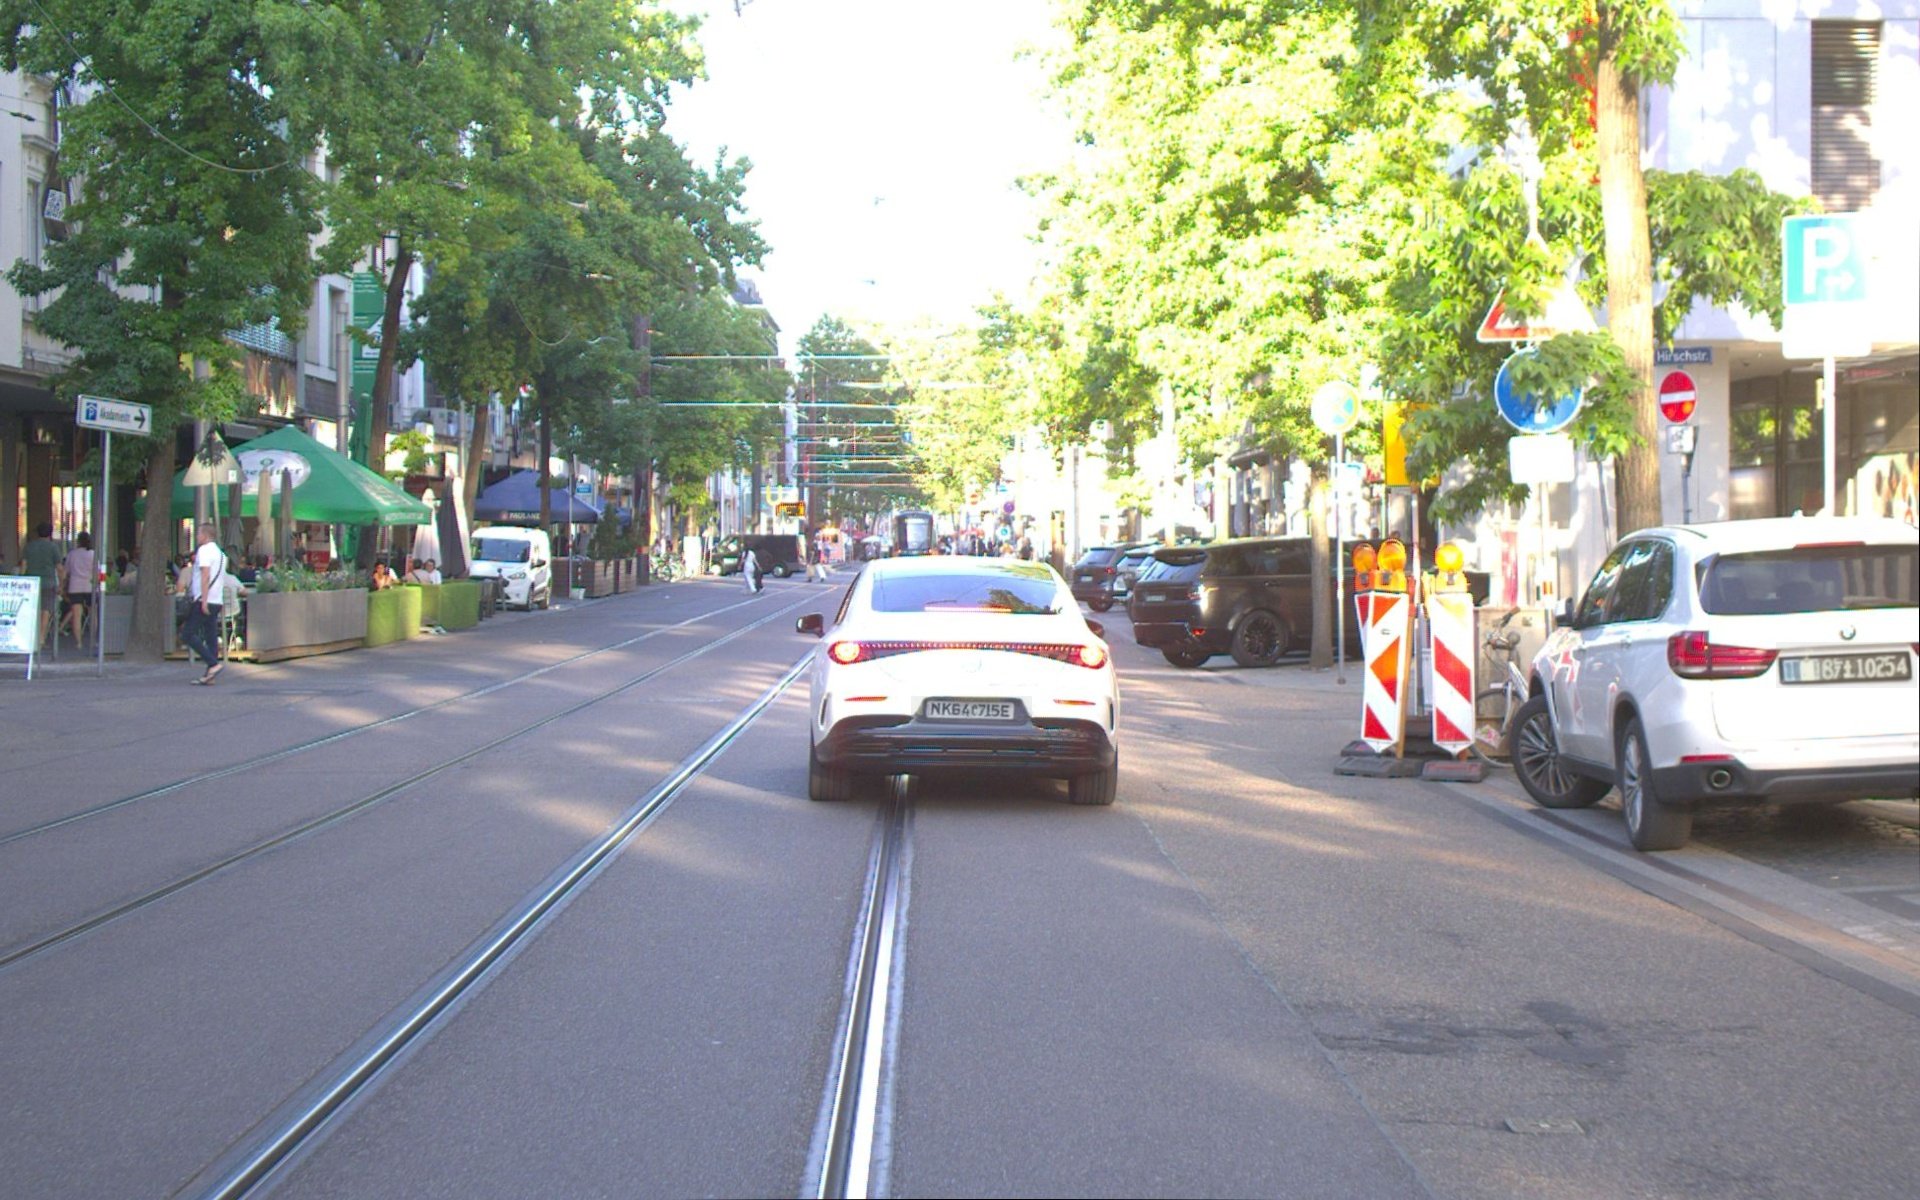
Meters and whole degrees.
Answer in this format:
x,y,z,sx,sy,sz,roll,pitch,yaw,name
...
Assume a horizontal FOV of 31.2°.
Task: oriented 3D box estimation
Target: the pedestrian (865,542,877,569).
x,y,z,sx,sy,sz,roll,pitch,yaw,name
-5.924,-2.977,228.958,0.800,1.776,0.849,2,1,-1,pedestrian

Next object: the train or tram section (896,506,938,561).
x,y,z,sx,sy,sz,roll,pitch,yaw,name
-2.802,-4.405,227.406,2.694,3.504,11.144,0,1,0,train or tram section

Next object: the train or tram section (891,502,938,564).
x,y,z,sx,sy,sz,roll,pitch,yaw,name
-2.651,-3.951,203.014,2.694,3.504,12.546,0,1,0,train or tram section

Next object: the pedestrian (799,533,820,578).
x,y,z,sx,sy,sz,roll,pitch,yaw,name
-6.122,-1.810,139.911,0.788,1.795,0.844,0,1,1,pedestrian

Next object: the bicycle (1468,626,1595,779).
x,y,z,sx,sy,sz,roll,pitch,yaw,name
3.975,0.693,24.035,0.493,0.978,1.930,0,1,-2,bicycle

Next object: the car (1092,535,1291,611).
x,y,z,sx,sy,sz,roll,pitch,yaw,name
5.360,-0.635,79.511,4.235,1.582,1.884,-3,1,-31,car

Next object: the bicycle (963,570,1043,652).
x,y,z,sx,sy,sz,roll,pitch,yaw,name
0.568,0.130,44.413,0.719,0.992,2.058,2,1,9,bicycle

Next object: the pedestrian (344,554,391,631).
x,y,z,sx,sy,sz,roll,pitch,yaw,name
-9.854,-0.134,57.175,0.619,1.240,0.697,3,1,-1,pedestrian

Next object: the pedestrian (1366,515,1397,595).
x,y,z,sx,sy,sz,roll,pitch,yaw,name
9.286,-0.991,75.732,0.557,1.744,0.525,-2,1,0,pedestrian

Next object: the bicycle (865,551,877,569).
x,y,z,sx,sy,sz,roll,pitch,yaw,name
-5.933,-2.662,228.964,0.800,1.138,2.257,2,1,-2,bicycle

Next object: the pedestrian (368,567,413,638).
x,y,z,sx,sy,sz,roll,pitch,yaw,name
-10.651,0.044,64.353,0.657,1.289,0.798,3,1,-1,pedestrian

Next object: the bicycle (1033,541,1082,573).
x,y,z,sx,sy,sz,roll,pitch,yaw,name
4.031,-1.782,142.477,1.908,1.277,0.610,-2,1,-11,bicycle

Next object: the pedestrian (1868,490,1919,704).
x,y,z,sx,sy,sz,roll,pitch,yaw,name
8.677,-0.040,30.809,0.834,1.891,0.918,-1,1,2,pedestrian

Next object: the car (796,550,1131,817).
x,y,z,sx,sy,sz,roll,pitch,yaw,name
-0.003,0.440,21.409,1.857,1.450,4.175,1,1,-1,car

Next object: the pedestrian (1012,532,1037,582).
x,y,z,sx,sy,sz,roll,pitch,yaw,name
2.363,-1.592,125.979,0.841,1.795,0.790,2,1,1,pedestrian

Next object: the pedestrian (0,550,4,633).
x,y,z,sx,sy,sz,roll,pitch,yaw,name
-13.659,-0.123,47.706,0.552,1.157,0.687,2,1,0,pedestrian

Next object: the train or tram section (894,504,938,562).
x,y,z,sx,sy,sz,roll,pitch,yaw,name
-2.725,-4.187,215.566,2.694,3.504,12.546,0,1,0,train or tram section

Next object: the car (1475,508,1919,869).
x,y,z,sx,sy,sz,roll,pitch,yaw,name
4.430,0.388,19.636,2.023,1.731,4.907,-3,1,-2,car

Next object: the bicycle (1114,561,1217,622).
x,y,z,sx,sy,sz,roll,pitch,yaw,name
4.029,-0.168,67.356,1.890,1.116,0.667,-3,1,-29,bicycle

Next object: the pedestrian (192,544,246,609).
x,y,z,sx,sy,sz,roll,pitch,yaw,name
-13.963,-0.447,64.790,0.753,1.184,1.065,3,1,-1,pedestrian

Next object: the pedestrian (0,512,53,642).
x,y,z,sx,sy,sz,roll,pitch,yaw,name
-12.866,-0.322,47.034,0.678,1.751,0.697,2,1,1,pedestrian

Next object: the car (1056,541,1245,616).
x,y,z,sx,sy,sz,roll,pitch,yaw,name
4.643,-0.534,83.539,4.342,1.646,1.694,-3,1,-31,car

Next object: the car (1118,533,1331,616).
x,y,z,sx,sy,sz,roll,pitch,yaw,name
5.558,-0.549,72.128,4.147,1.566,1.854,-3,2,-33,car

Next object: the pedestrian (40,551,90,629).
x,y,z,sx,sy,sz,roll,pitch,yaw,name
-13.574,-0.157,52.138,0.552,1.157,0.687,2,1,0,pedestrian

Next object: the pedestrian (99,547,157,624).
x,y,z,sx,sy,sz,roll,pitch,yaw,name
-13.935,-0.245,57.604,0.736,1.227,0.788,3,1,-1,pedestrian

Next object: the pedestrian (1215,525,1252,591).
x,y,z,sx,sy,sz,roll,pitch,yaw,name
7.266,-1.126,91.375,0.689,1.725,0.631,-1,1,42,pedestrian

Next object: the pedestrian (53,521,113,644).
x,y,z,sx,sy,sz,roll,pitch,yaw,name
-12.121,-0.247,47.513,0.619,1.665,0.697,2,1,-1,pedestrian

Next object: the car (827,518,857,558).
x,y,z,sx,sy,sz,roll,pitch,yaw,name
-8.696,-4.592,253.686,1.993,2.887,5.275,0,1,0,car

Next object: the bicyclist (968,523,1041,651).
x,y,z,sx,sy,sz,roll,pitch,yaw,name
0.581,-0.169,44.425,0.778,1.607,0.912,2,1,9,bicyclist

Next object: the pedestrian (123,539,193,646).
x,y,z,sx,sy,sz,roll,pitch,yaw,name
-10.600,-0.104,45.469,0.689,1.382,0.807,2,1,1,pedestrian

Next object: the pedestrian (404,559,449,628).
x,y,z,sx,sy,sz,roll,pitch,yaw,name
-9.933,-0.118,64.074,0.657,1.240,0.873,3,1,-1,pedestrian

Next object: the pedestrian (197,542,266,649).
x,y,z,sx,sy,sz,roll,pitch,yaw,name
-9.609,-0.063,45.360,0.689,1.382,0.807,2,1,1,pedestrian

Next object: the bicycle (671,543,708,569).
x,y,z,sx,sy,sz,roll,pitch,yaw,name
-11.328,-1.839,144.174,1.492,1.025,0.345,1,1,-10,bicycle

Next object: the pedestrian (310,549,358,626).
x,y,z,sx,sy,sz,roll,pitch,yaw,name
-10.542,-0.214,57.904,0.619,1.240,0.697,3,1,-1,pedestrian

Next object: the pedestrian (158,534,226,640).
x,y,z,sx,sy,sz,roll,pitch,yaw,name
-10.322,-0.179,46.237,0.689,1.382,0.807,2,1,1,pedestrian

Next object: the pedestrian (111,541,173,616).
x,y,z,sx,sy,sz,roll,pitch,yaw,name
-13.960,-0.377,58.684,0.777,1.233,0.945,3,1,-1,pedestrian

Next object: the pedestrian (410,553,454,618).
x,y,z,sx,sy,sz,roll,pitch,yaw,name
-10.002,-0.282,65.107,0.657,1.189,0.798,3,1,-1,pedestrian

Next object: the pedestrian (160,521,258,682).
x,y,z,sx,sy,sz,roll,pitch,yaw,name
-8.263,0.004,37.860,0.796,1.734,0.866,1,2,8,pedestrian

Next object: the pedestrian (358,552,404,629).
x,y,z,sx,sy,sz,roll,pitch,yaw,name
-9.767,-0.163,57.998,0.619,1.240,0.697,3,1,-1,pedestrian

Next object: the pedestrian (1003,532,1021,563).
x,y,z,sx,sy,sz,roll,pitch,yaw,name
3.002,-3.041,199.741,0.960,1.779,0.804,-2,1,-1,pedestrian

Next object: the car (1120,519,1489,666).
x,y,z,sx,sy,sz,roll,pitch,yaw,name
4.719,-0.121,46.959,4.651,1.757,1.994,-3,1,-29,car

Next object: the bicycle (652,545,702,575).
x,y,z,sx,sy,sz,roll,pitch,yaw,name
-10.280,-1.455,124.831,1.788,1.073,0.377,1,1,-4,bicycle

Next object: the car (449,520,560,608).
x,y,z,sx,sy,sz,roll,pitch,yaw,name
-10.326,-0.831,78.145,1.795,1.858,4.553,3,1,1,car

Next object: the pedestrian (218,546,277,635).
x,y,z,sx,sy,sz,roll,pitch,yaw,name
-10.757,-0.151,51.922,0.689,1.307,0.807,2,1,1,pedestrian

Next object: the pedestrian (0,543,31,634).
x,y,z,sx,sy,sz,roll,pitch,yaw,name
-13.932,-0.178,50.049,0.602,1.294,0.687,2,1,0,pedestrian

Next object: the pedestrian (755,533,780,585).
x,y,z,sx,sy,sz,roll,pitch,yaw,name
-5.792,-1.235,103.493,0.622,1.545,0.852,2,1,0,pedestrian

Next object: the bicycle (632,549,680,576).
x,y,z,sx,sy,sz,roll,pitch,yaw,name
-10.737,-1.323,121.418,1.596,0.927,0.377,2,1,7,bicycle

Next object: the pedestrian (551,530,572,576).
x,y,z,sx,sy,sz,roll,pitch,yaw,name
-13.389,-1.568,115.479,0.597,1.527,0.671,2,1,0,pedestrian

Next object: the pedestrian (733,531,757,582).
x,y,z,sx,sy,sz,roll,pitch,yaw,name
-6.403,-1.293,102.417,0.622,1.504,0.833,2,1,0,pedestrian
